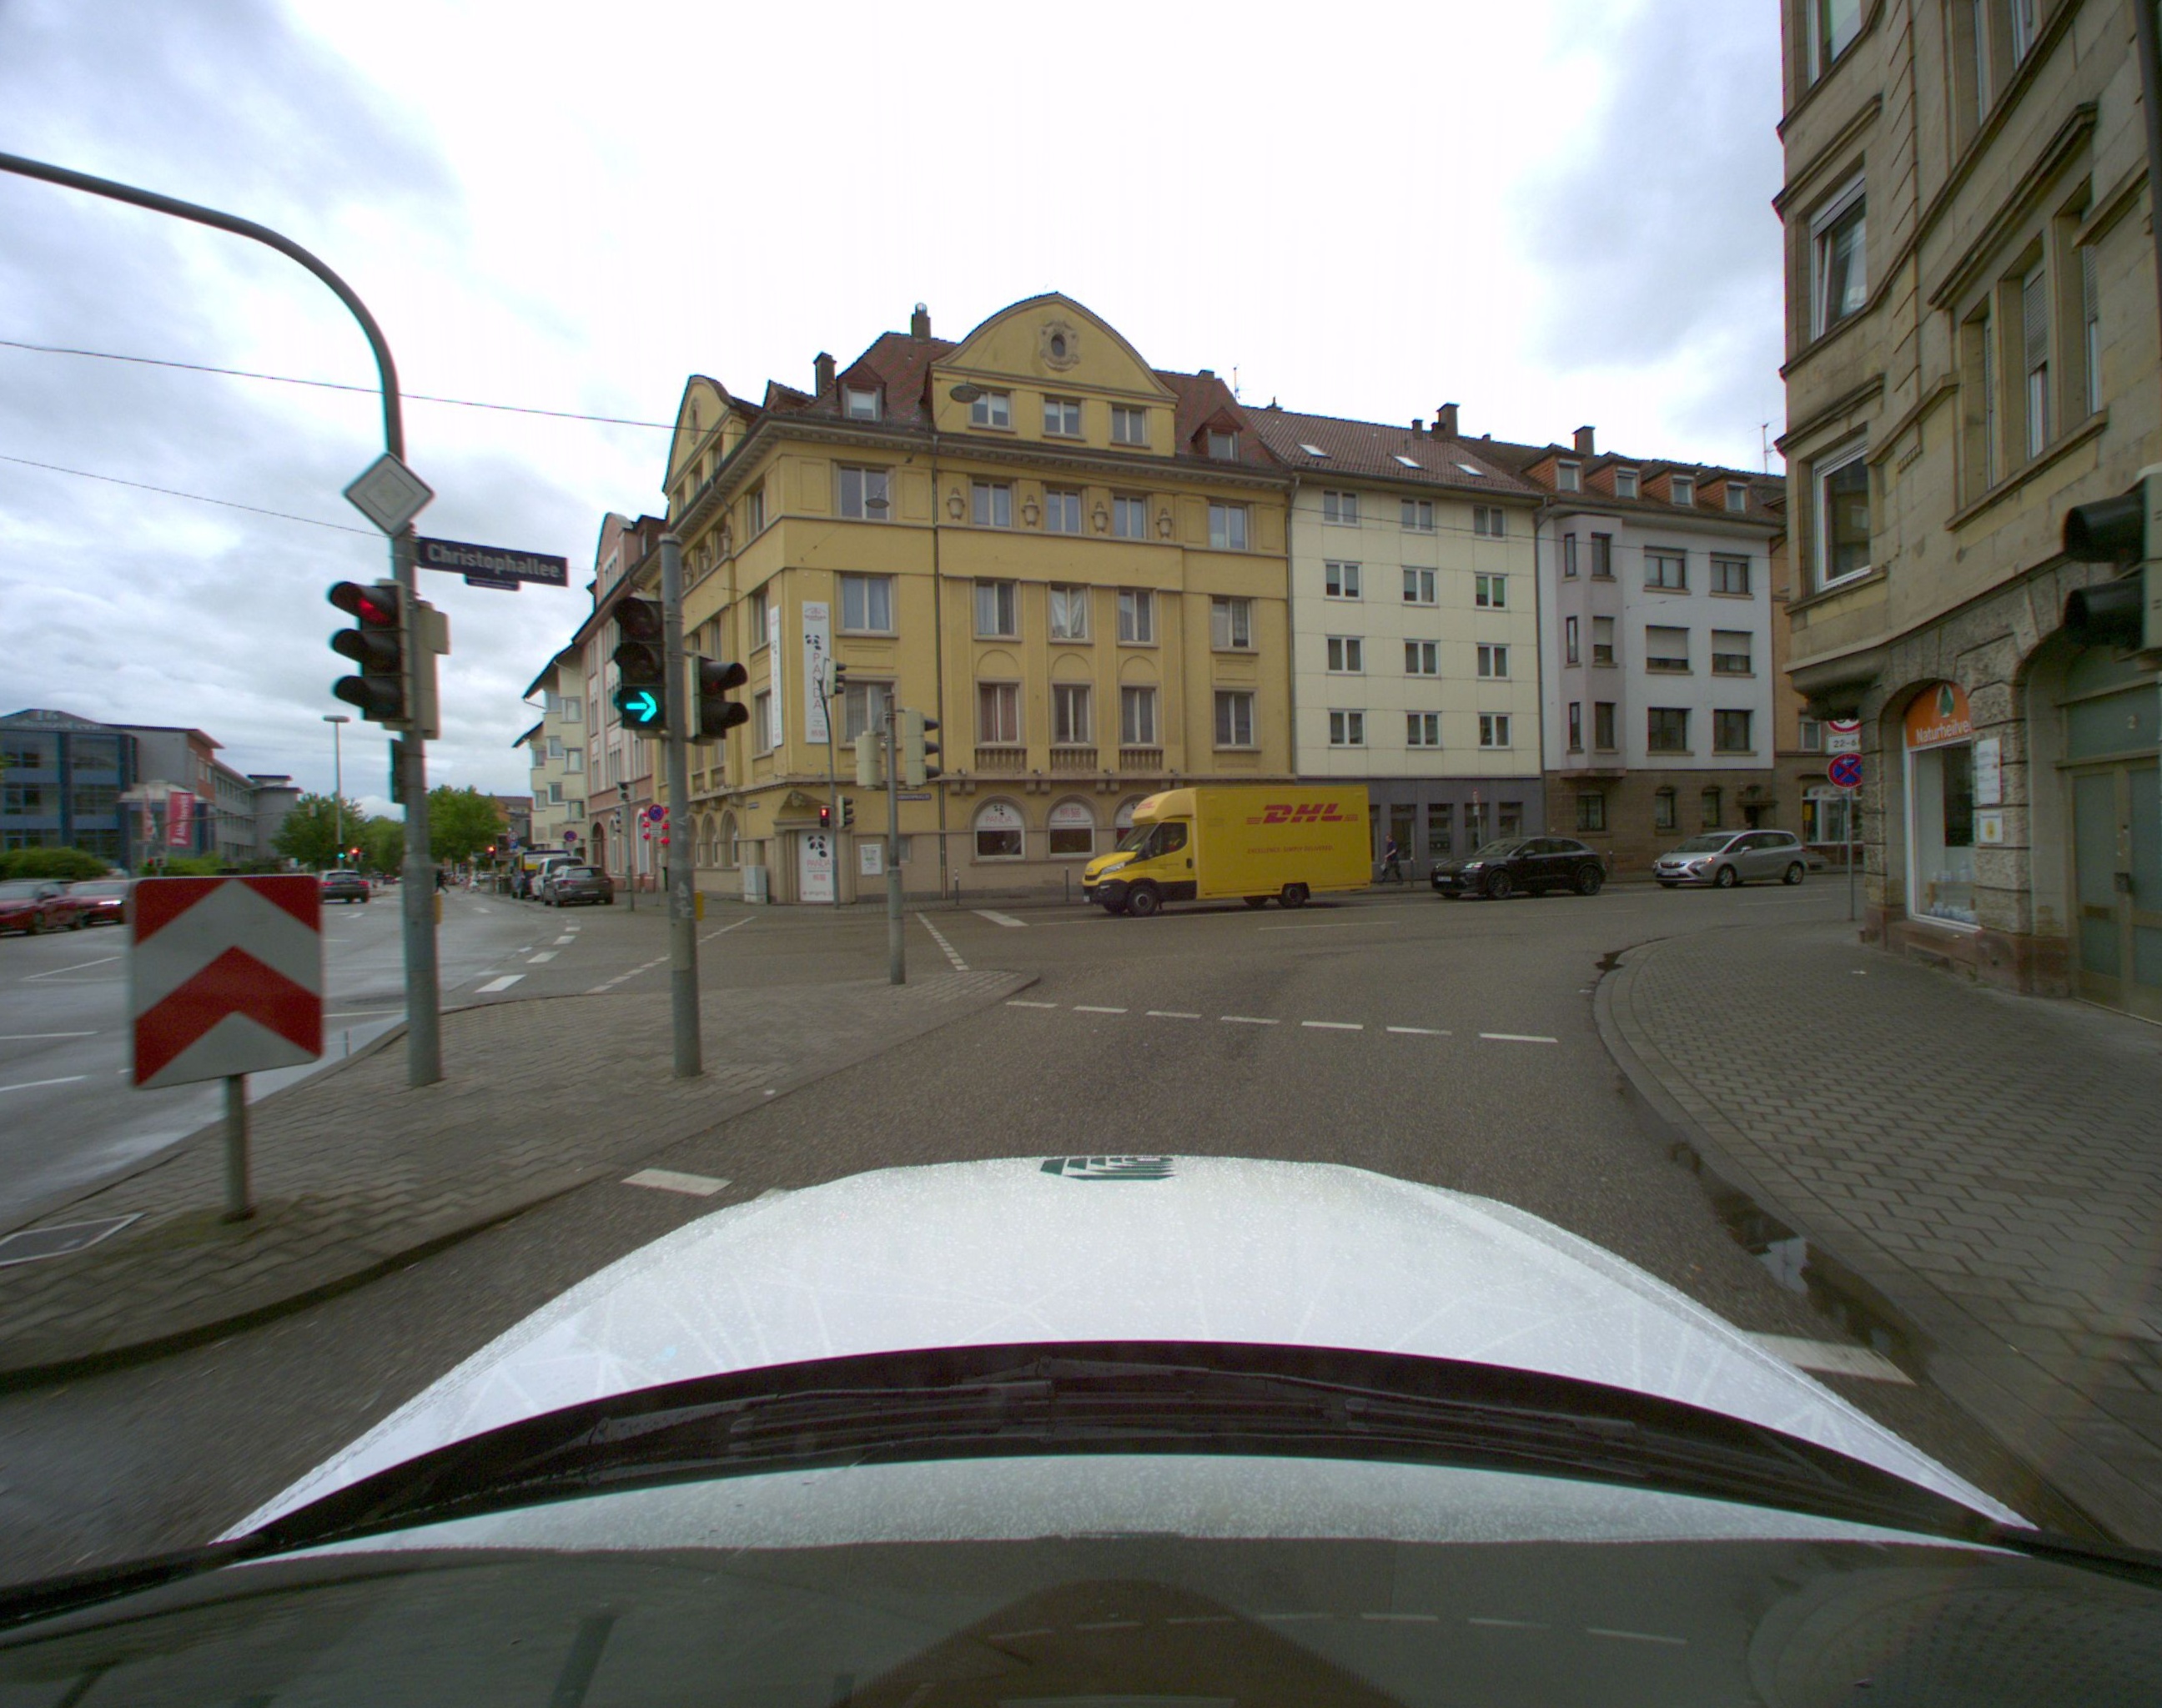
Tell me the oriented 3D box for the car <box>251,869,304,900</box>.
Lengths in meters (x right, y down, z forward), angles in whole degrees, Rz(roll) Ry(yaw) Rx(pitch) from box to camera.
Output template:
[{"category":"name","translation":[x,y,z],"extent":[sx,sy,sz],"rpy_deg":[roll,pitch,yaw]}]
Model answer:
[{"category":"car","translation":[-56.395,2.112,57.239],"extent":[2.009,2.013,3.956],"rpy_deg":[-2,0,-36]}]

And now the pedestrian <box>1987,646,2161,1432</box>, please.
[{"category":"pedestrian","translation":[3.104,0.443,1.793],"extent":[1.051,1.903,1.028],"rpy_deg":[-2,0,10]}]

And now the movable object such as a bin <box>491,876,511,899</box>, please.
[{"category":"movable object such as a bin","translation":[-32.805,1.903,46.041],"extent":[0.754,1.231,0.972],"rpy_deg":[4,-3,-40]}]

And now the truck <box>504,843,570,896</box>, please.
[{"category":"truck","translation":[-25.941,0.702,38.753],"extent":[2.044,2.389,4.186],"rpy_deg":[-1,0,-42]}]

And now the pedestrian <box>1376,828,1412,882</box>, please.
[{"category":"pedestrian","translation":[10.678,0.025,27.781],"extent":[0.792,1.791,0.758],"rpy_deg":[-2,0,-16]}]

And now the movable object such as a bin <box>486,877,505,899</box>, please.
[{"category":"movable object such as a bin","translation":[-33.813,1.970,47.036],"extent":[0.754,1.231,0.972],"rpy_deg":[4,-3,-40]}]

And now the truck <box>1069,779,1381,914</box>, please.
[{"category":"truck","translation":[3.431,-0.246,19.381],"extent":[7.108,2.851,2.071],"rpy_deg":[-2,0,-17]}]

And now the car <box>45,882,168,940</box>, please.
[{"category":"car","translation":[-31.431,1.780,26.381],"extent":[1.778,1.634,3.584],"rpy_deg":[-2,0,-38]}]

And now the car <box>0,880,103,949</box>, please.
[{"category":"car","translation":[-28.541,1.589,22.011],"extent":[1.859,1.684,3.955],"rpy_deg":[-1,0,-38]}]

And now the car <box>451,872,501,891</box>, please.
[{"category":"car","translation":[-67.361,3.056,90.725],"extent":[1.974,2.014,4.025],"rpy_deg":[0,-1,38]}]

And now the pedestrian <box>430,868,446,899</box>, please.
[{"category":"pedestrian","translation":[-41.531,1.902,52.627],"extent":[0.729,1.937,0.783],"rpy_deg":[-1,0,-43]}]

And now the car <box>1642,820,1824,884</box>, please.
[{"category":"car","translation":[19.080,-0.085,23.879],"extent":[4.406,1.684,1.940],"rpy_deg":[-2,0,-15]}]

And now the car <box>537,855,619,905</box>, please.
[{"category":"car","translation":[-18.076,0.889,29.180],"extent":[1.894,1.637,3.953],"rpy_deg":[-1,0,-40]}]

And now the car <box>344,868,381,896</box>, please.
[{"category":"car","translation":[-55.913,2.177,63.433],"extent":[2.010,2.013,3.953],"rpy_deg":[-2,0,-40]}]

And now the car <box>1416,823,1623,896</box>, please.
[{"category":"car","translation":[11.594,0.106,21.584],"extent":[4.822,1.684,1.989],"rpy_deg":[-2,0,-17]}]

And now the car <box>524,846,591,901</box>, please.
[{"category":"car","translation":[-22.200,0.776,34.491],"extent":[1.777,2.180,3.952],"rpy_deg":[-1,0,-42]}]

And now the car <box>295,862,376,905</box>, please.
[{"category":"car","translation":[-34.317,1.317,37.460],"extent":[3.948,1.816,2.013],"rpy_deg":[-2,0,37]}]
